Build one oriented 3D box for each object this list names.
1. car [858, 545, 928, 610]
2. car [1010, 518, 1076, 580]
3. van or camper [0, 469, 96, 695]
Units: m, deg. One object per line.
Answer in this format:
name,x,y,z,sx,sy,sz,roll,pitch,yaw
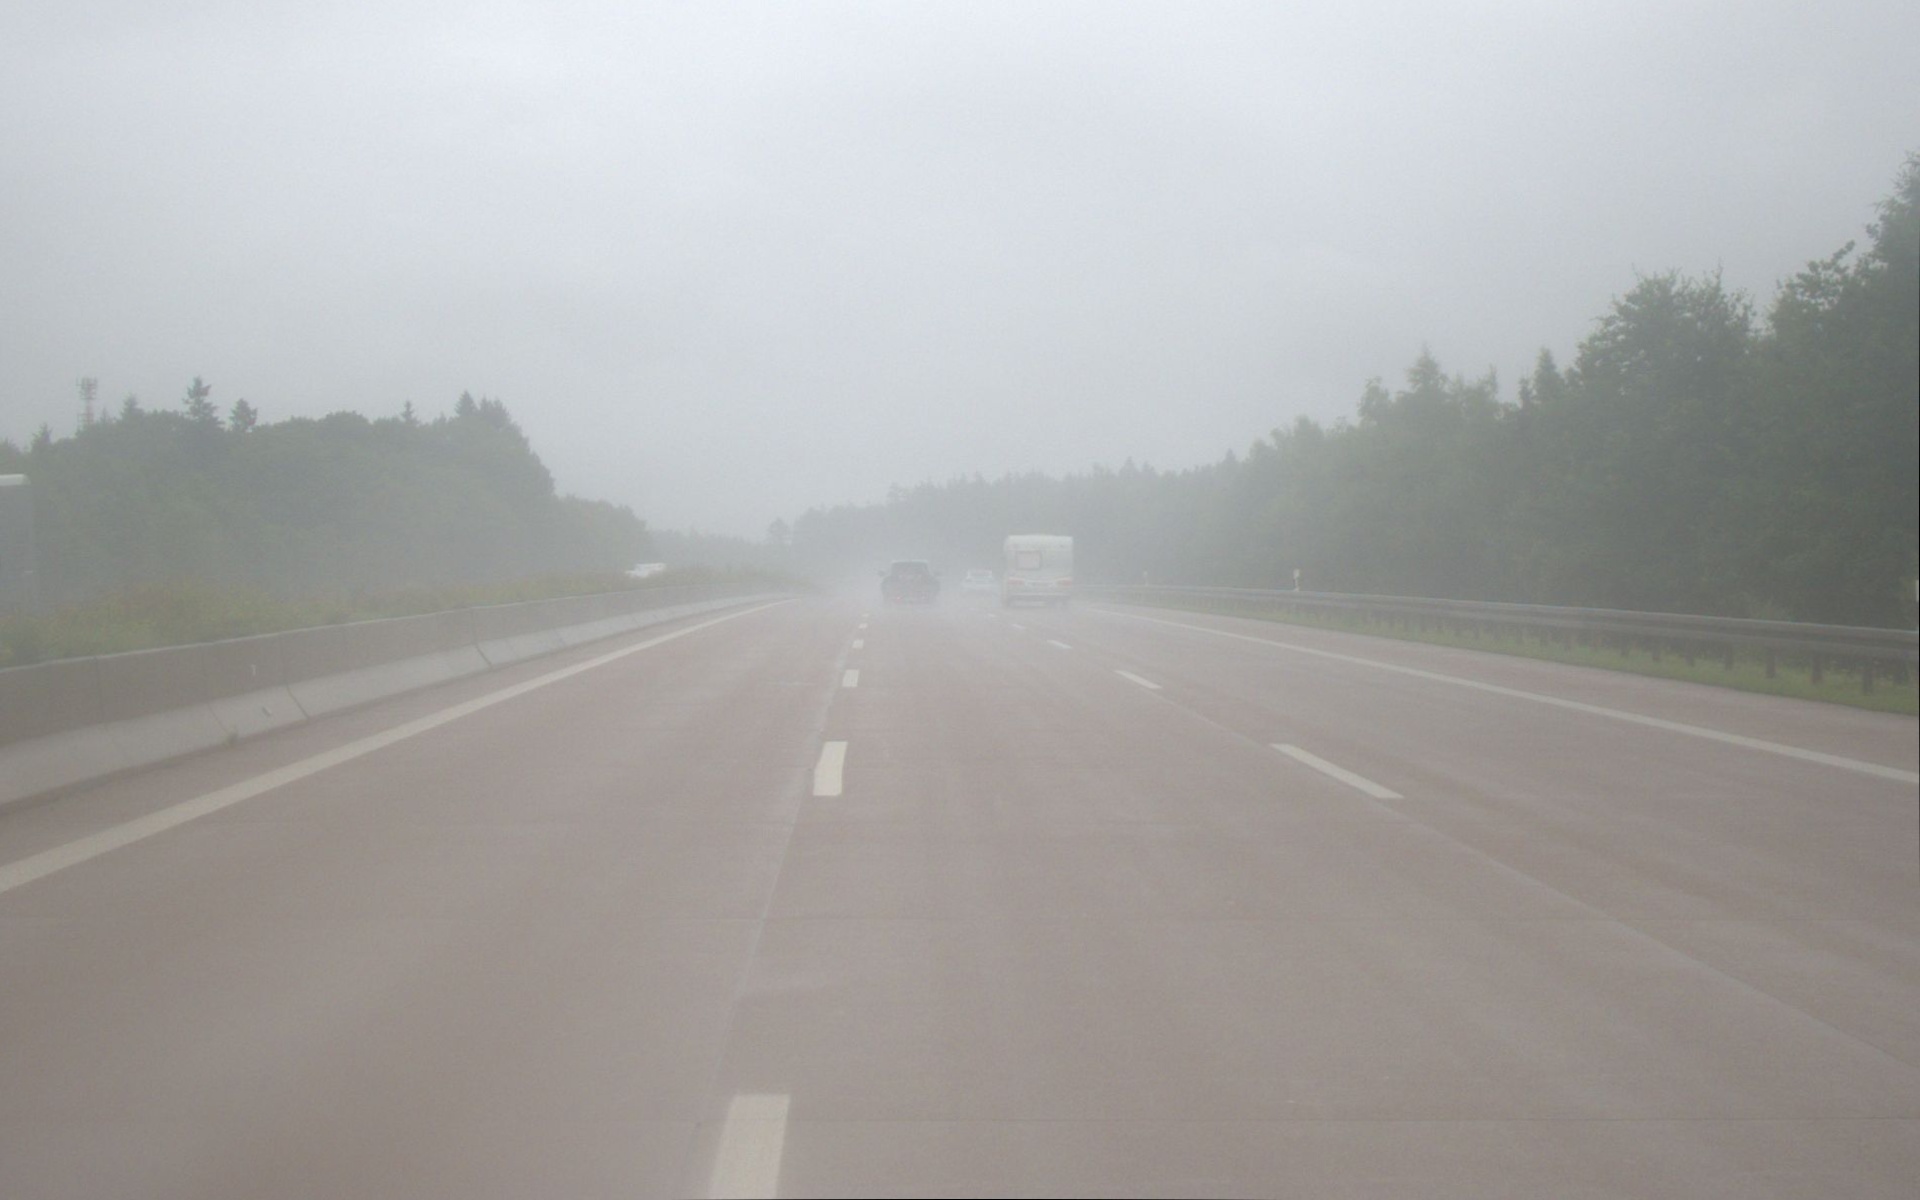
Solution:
car,-2.192,-0.751,113.464,2.173,1.974,4.130,3,1,-1
car,2.857,-1.793,119.168,2.058,1.993,4.099,3,1,-1
van or camper,-11.645,-0.181,37.848,2.790,2.397,6.490,-2,1,-2
